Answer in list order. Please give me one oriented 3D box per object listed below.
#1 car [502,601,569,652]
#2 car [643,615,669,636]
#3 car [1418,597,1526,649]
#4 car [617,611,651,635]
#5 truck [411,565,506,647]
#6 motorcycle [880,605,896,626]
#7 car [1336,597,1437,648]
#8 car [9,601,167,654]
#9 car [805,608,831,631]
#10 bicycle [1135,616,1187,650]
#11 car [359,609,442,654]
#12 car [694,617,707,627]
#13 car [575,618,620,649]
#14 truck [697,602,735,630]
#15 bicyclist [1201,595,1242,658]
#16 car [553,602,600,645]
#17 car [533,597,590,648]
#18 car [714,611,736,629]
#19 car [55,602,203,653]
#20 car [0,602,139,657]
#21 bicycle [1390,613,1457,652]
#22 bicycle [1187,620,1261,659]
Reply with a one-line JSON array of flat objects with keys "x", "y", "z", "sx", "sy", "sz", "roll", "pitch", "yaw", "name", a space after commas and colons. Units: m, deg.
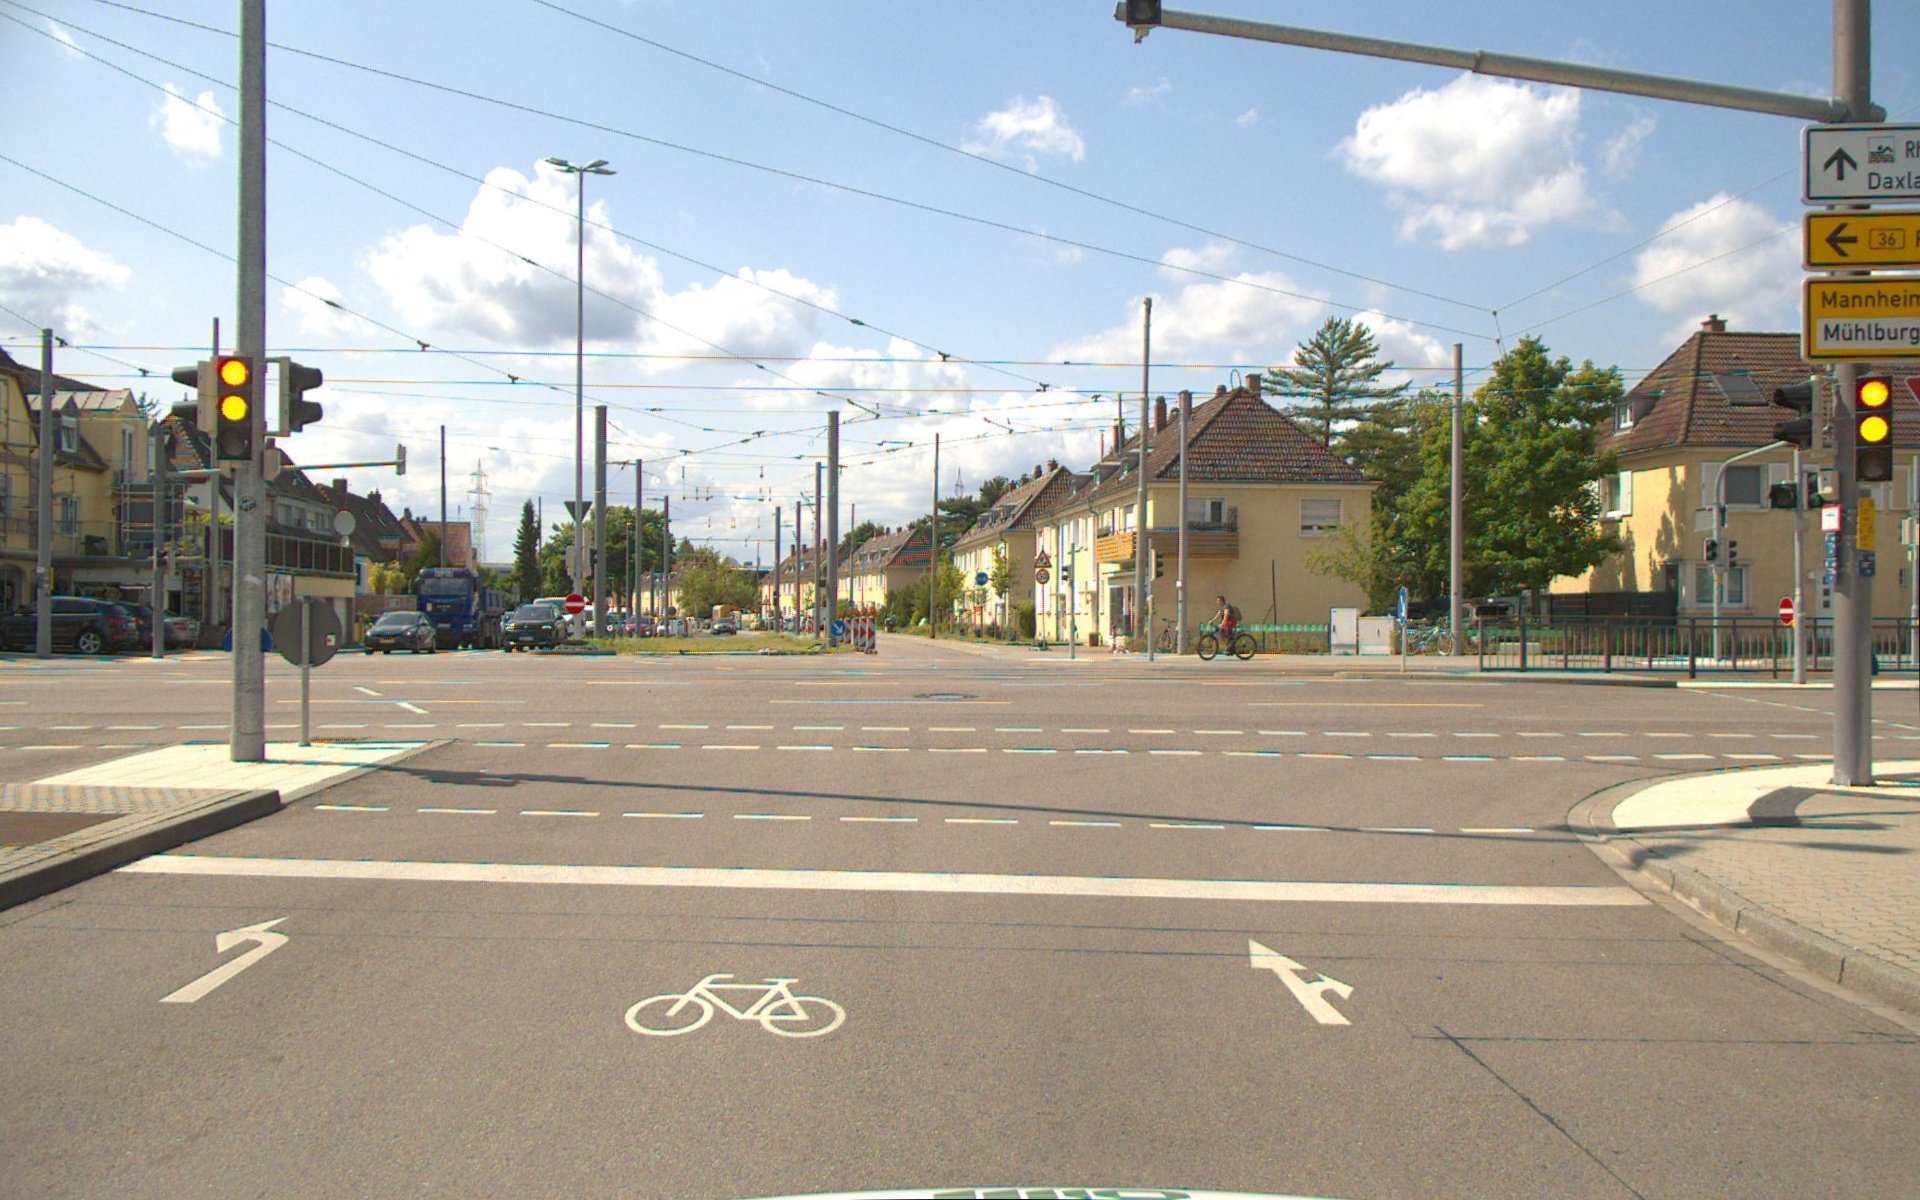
[{"x": -15.174, "y": 0.901, "z": 59.315, "sx": 1.752, "sy": 1.751, "sz": 4.434, "roll": 0, "pitch": 0, "yaw": -7, "name": "car"}, {"x": -23.819, "y": 2.019, "z": 129.697, "sx": 1.808, "sy": 1.589, "sz": 4.180, "roll": 0, "pitch": -1, "yaw": -7, "name": "car"}, {"x": 17.055, "y": 0.789, "z": 55.282, "sx": 1.789, "sy": 1.649, "sz": 3.990, "roll": 0, "pitch": -2, "yaw": -10, "name": "car"}, {"x": -20.937, "y": 1.493, "z": 106.470, "sx": 1.808, "sy": 1.520, "sz": 4.848, "roll": 0, "pitch": -1, "yaw": -7, "name": "car"}, {"x": -20.928, "y": 0.306, "z": 69.353, "sx": 2.717, "sy": 3.244, "sz": 7.567, "roll": 0, "pitch": -1, "yaw": -9, "name": "truck"}, {"x": -5.755, "y": 1.220, "z": 131.964, "sx": 1.046, "sy": 1.664, "sz": 2.079, "roll": 0, "pitch": -1, "yaw": -9, "name": "motorcycle"}, {"x": 14.293, "y": 0.789, "z": 55.604, "sx": 1.789, "sy": 1.649, "sz": 3.990, "roll": 0, "pitch": -2, "yaw": -10, "name": "car"}, {"x": -27.300, "y": 0.861, "z": 51.870, "sx": 4.058, "sy": 1.519, "sz": 1.504, "roll": 2, "pitch": -1, "yaw": -9, "name": "car"}, {"x": -13.457, "y": 1.872, "z": 157.043, "sx": 2.028, "sy": 2.187, "sz": 4.866, "roll": 0, "pitch": -1, "yaw": -10, "name": "car"}, {"x": 6.775, "y": 1.106, "z": 55.848, "sx": 0.586, "sy": 1.116, "sz": 2.256, "roll": 0, "pitch": -1, "yaw": -27, "name": "bicycle"}, {"x": -19.495, "y": 1.091, "z": 57.768, "sx": 1.792, "sy": 1.513, "sz": 4.328, "roll": 0, "pitch": -1, "yaw": -6, "name": "car"}, {"x": -35.931, "y": 3.062, "z": 228.919, "sx": 1.241, "sy": 1.451, "sz": 2.645, "roll": 0, "pitch": -1, "yaw": -24, "name": "car"}, {"x": -17.628, "y": 1.609, "z": 80.502, "sx": 1.879, "sy": 1.444, "sz": 3.992, "roll": 0, "pitch": -1, "yaw": -9, "name": "car"}, {"x": -32.037, "y": 2.154, "z": 217.011, "sx": 2.606, "sy": 3.555, "sz": 9.366, "roll": 0, "pitch": -1, "yaw": -24, "name": "truck"}, {"x": 7.543, "y": 0.769, "z": 47.735, "sx": 0.941, "sy": 1.806, "sz": 0.717, "roll": 0, "pitch": -1, "yaw": -15, "name": "bicyclist"}, {"x": -17.022, "y": 1.037, "z": 73.572, "sx": 1.700, "sy": 1.813, "sz": 4.396, "roll": 0, "pitch": -1, "yaw": -9, "name": "car"}, {"x": -15.794, "y": 0.900, "z": 65.721, "sx": 1.780, "sy": 1.955, "sz": 4.738, "roll": 0, "pitch": -1, "yaw": -9, "name": "car"}, {"x": -21.804, "y": 1.822, "z": 153.560, "sx": 1.783, "sy": 1.579, "sz": 3.997, "roll": 0, "pitch": 0, "yaw": -4, "name": "car"}, {"x": -27.373, "y": 0.908, "z": 54.580, "sx": 4.058, "sy": 1.519, "sz": 1.432, "roll": 2, "pitch": -1, "yaw": -9, "name": "car"}, {"x": -26.819, "y": 0.862, "z": 49.202, "sx": 4.058, "sy": 1.519, "sz": 1.177, "roll": 2, "pitch": -1, "yaw": -9, "name": "car"}, {"x": 13.663, "y": 0.940, "z": 48.778, "sx": 1.773, "sy": 1.124, "sz": 0.699, "roll": 0, "pitch": -1, "yaw": 39, "name": "bicycle"}, {"x": 7.589, "y": 1.135, "z": 47.583, "sx": 1.993, "sy": 1.121, "sz": 0.712, "roll": 0, "pitch": -1, "yaw": -15, "name": "bicycle"}]
